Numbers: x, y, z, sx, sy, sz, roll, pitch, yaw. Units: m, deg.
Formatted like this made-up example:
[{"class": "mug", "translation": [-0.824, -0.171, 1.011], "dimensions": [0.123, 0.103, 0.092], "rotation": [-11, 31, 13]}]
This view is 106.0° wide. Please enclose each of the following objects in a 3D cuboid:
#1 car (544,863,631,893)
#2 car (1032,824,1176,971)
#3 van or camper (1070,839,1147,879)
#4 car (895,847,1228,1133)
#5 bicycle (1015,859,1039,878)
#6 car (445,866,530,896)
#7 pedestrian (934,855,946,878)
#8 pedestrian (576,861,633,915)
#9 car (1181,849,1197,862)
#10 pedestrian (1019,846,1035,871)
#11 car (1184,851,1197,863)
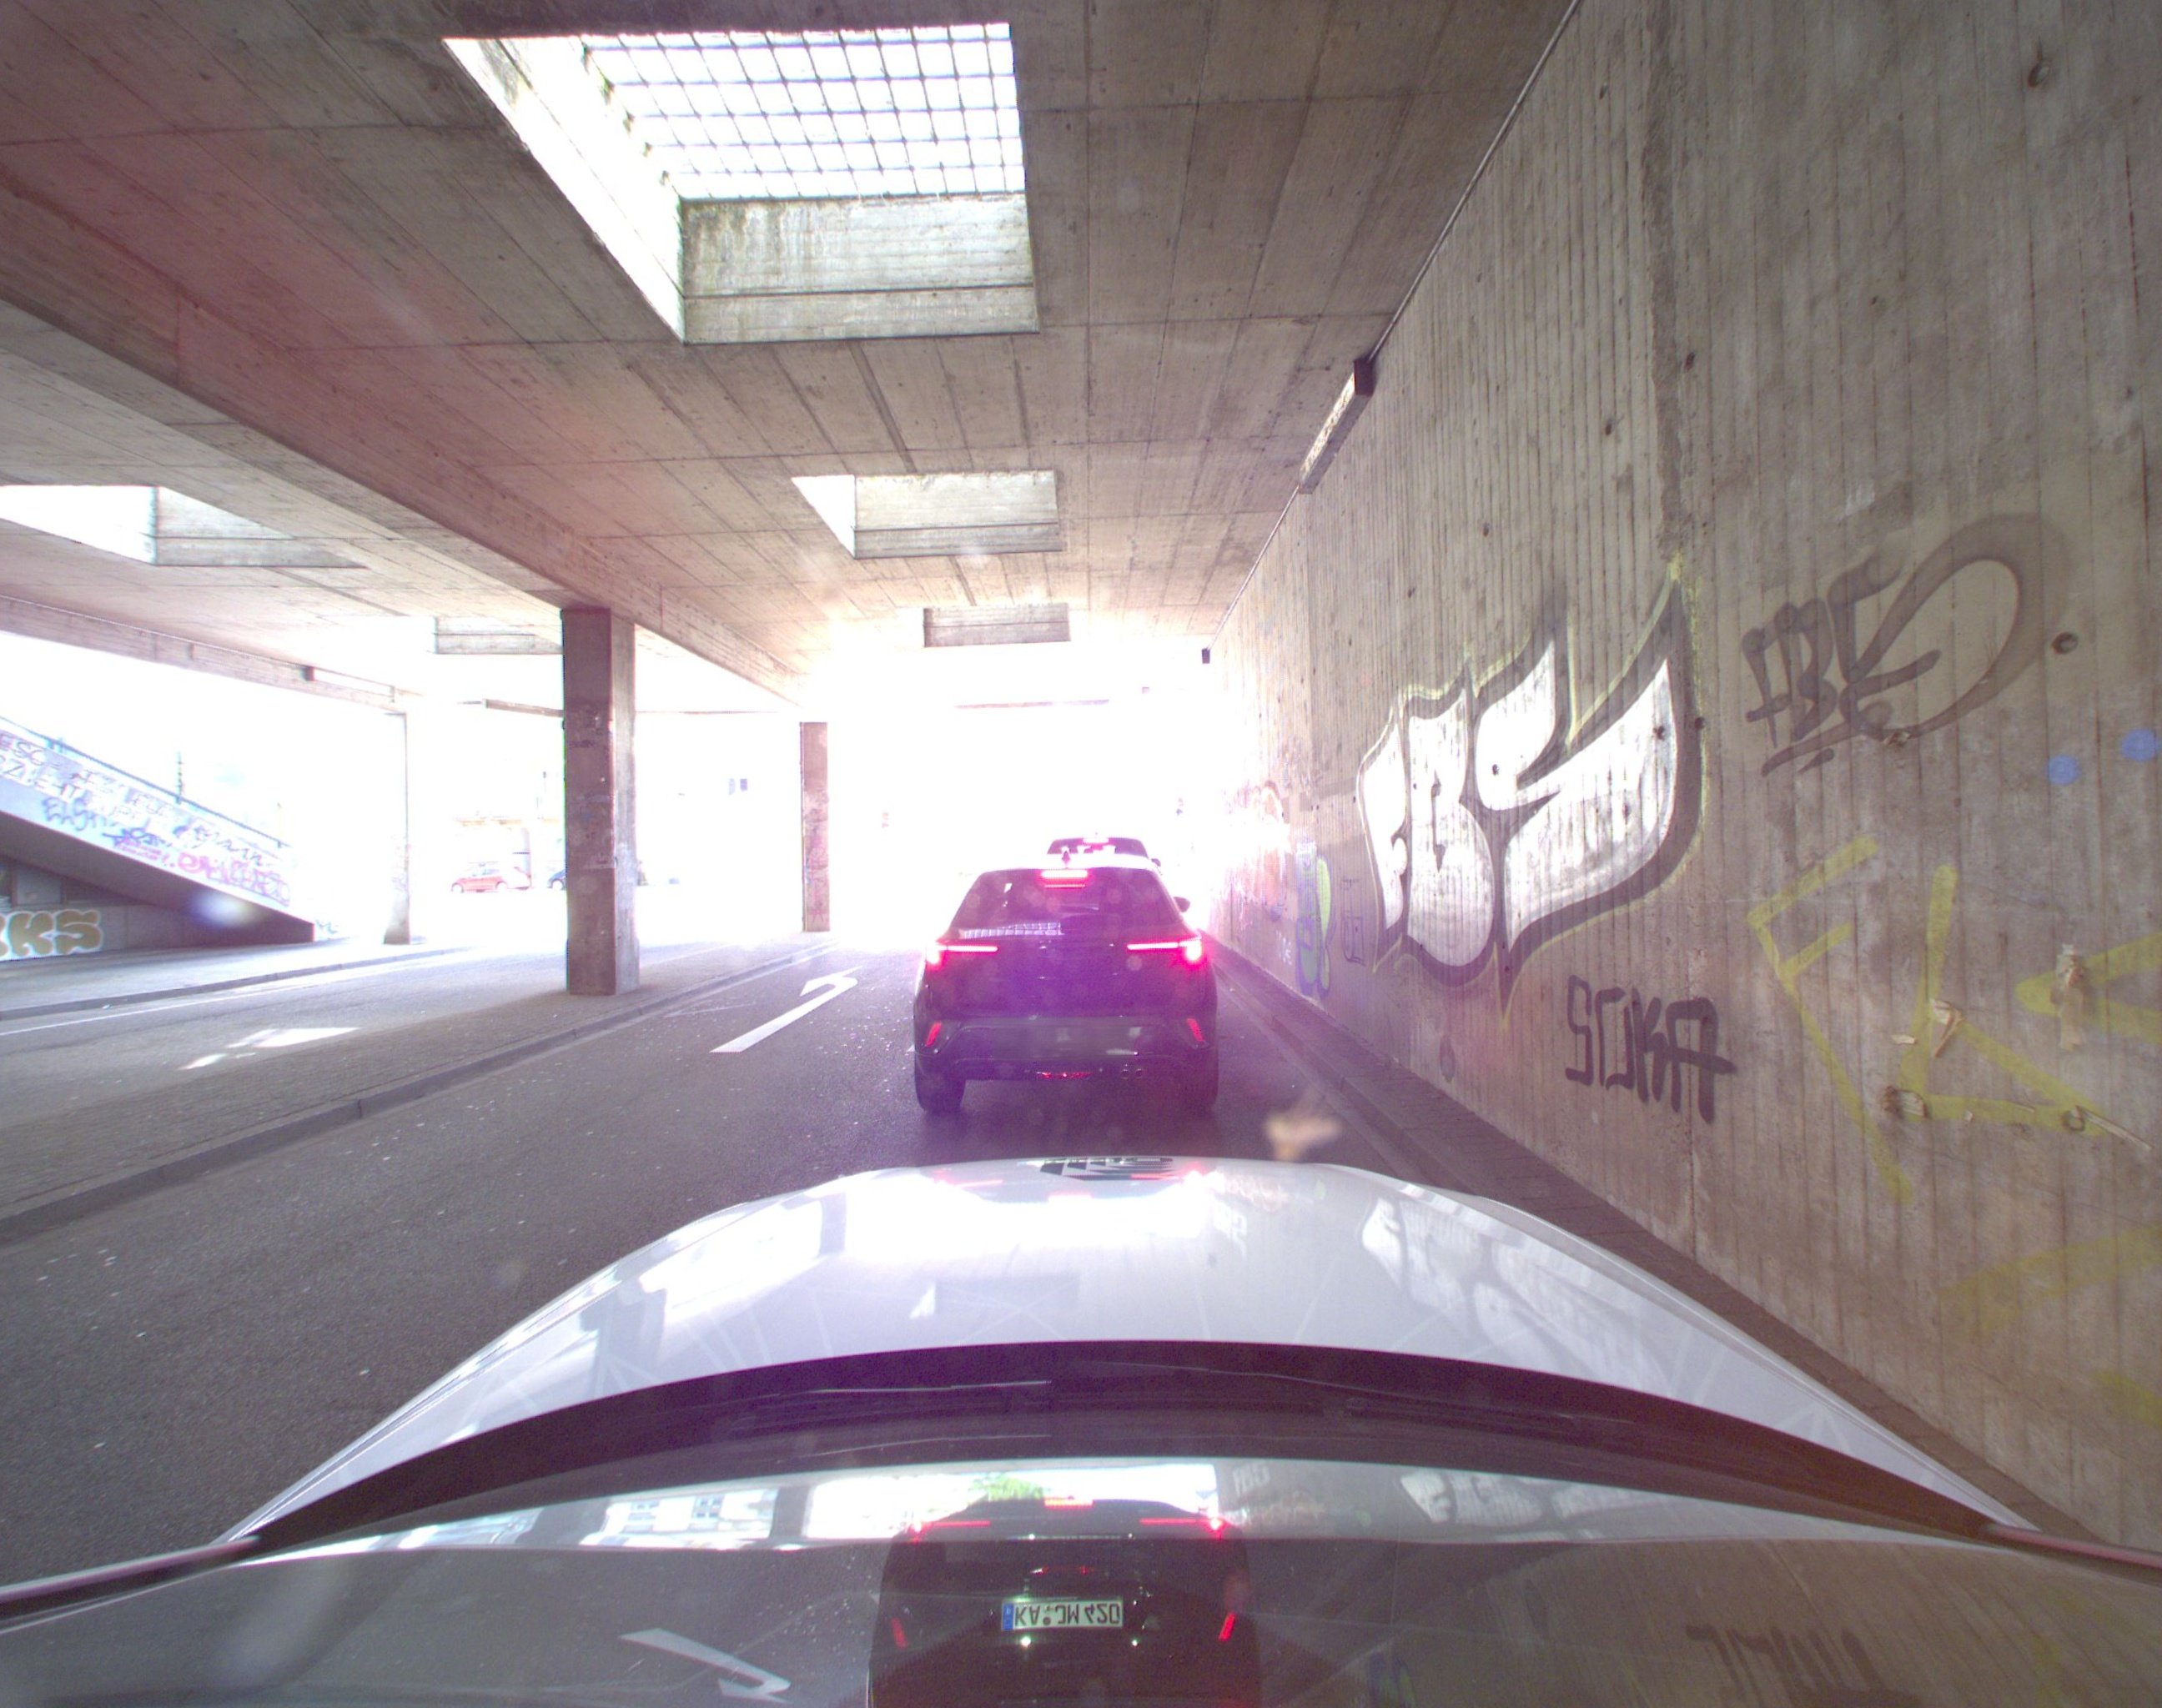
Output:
[{"class": "car", "translation": [-27.389, 1.309, 45.268], "dimensions": [3.742, 1.508, 1.752], "rotation": [-2, 0, 0]}, {"class": "car", "translation": [0.358, 0.547, 12.202], "dimensions": [1.779, 1.833, 3.962], "rotation": [-1, 0, 2]}, {"class": "van or camper", "translation": [1.513, 0.279, 43.711], "dimensions": [3.854, 2.013, 2.005], "rotation": [-2, 0, 9]}, {"class": "car", "translation": [-0.030, 0.714, 6.288], "dimensions": [1.746, 1.498, 4.002], "rotation": [0, 0, 2]}, {"class": "bicycle", "translation": [-3.411, 0.900, 51.570], "dimensions": [0.730, 1.130, 2.036], "rotation": [-2, 0, 19]}, {"class": "car", "translation": [-32.842, 1.463, 45.113], "dimensions": [3.519, 1.506, 1.563], "rotation": [-2, 0, 2]}, {"class": "pedestrian", "translation": [-10.435, 0.901, 60.276], "dimensions": [0.618, 1.705, 0.726], "rotation": [0, -1, 14]}, {"class": "pedestrian", "translation": [-15.778, 1.108, 27.006], "dimensions": [1.103, 1.737, 1.146], "rotation": [-2, 0, 15]}, {"class": "car", "translation": [12.867, 0.198, 96.641], "dimensions": [1.588, 1.452, 3.807], "rotation": [-2, 0, 12]}, {"class": "pedestrian", "translation": [-3.396, 0.266, 51.657], "dimensions": [0.729, 1.585, 0.894], "rotation": [0, -1, 18]}, {"class": "car", "translation": [15.301, 0.438, 113.747], "dimensions": [1.573, 1.640, 3.819], "rotation": [-2, 0, 12]}]
